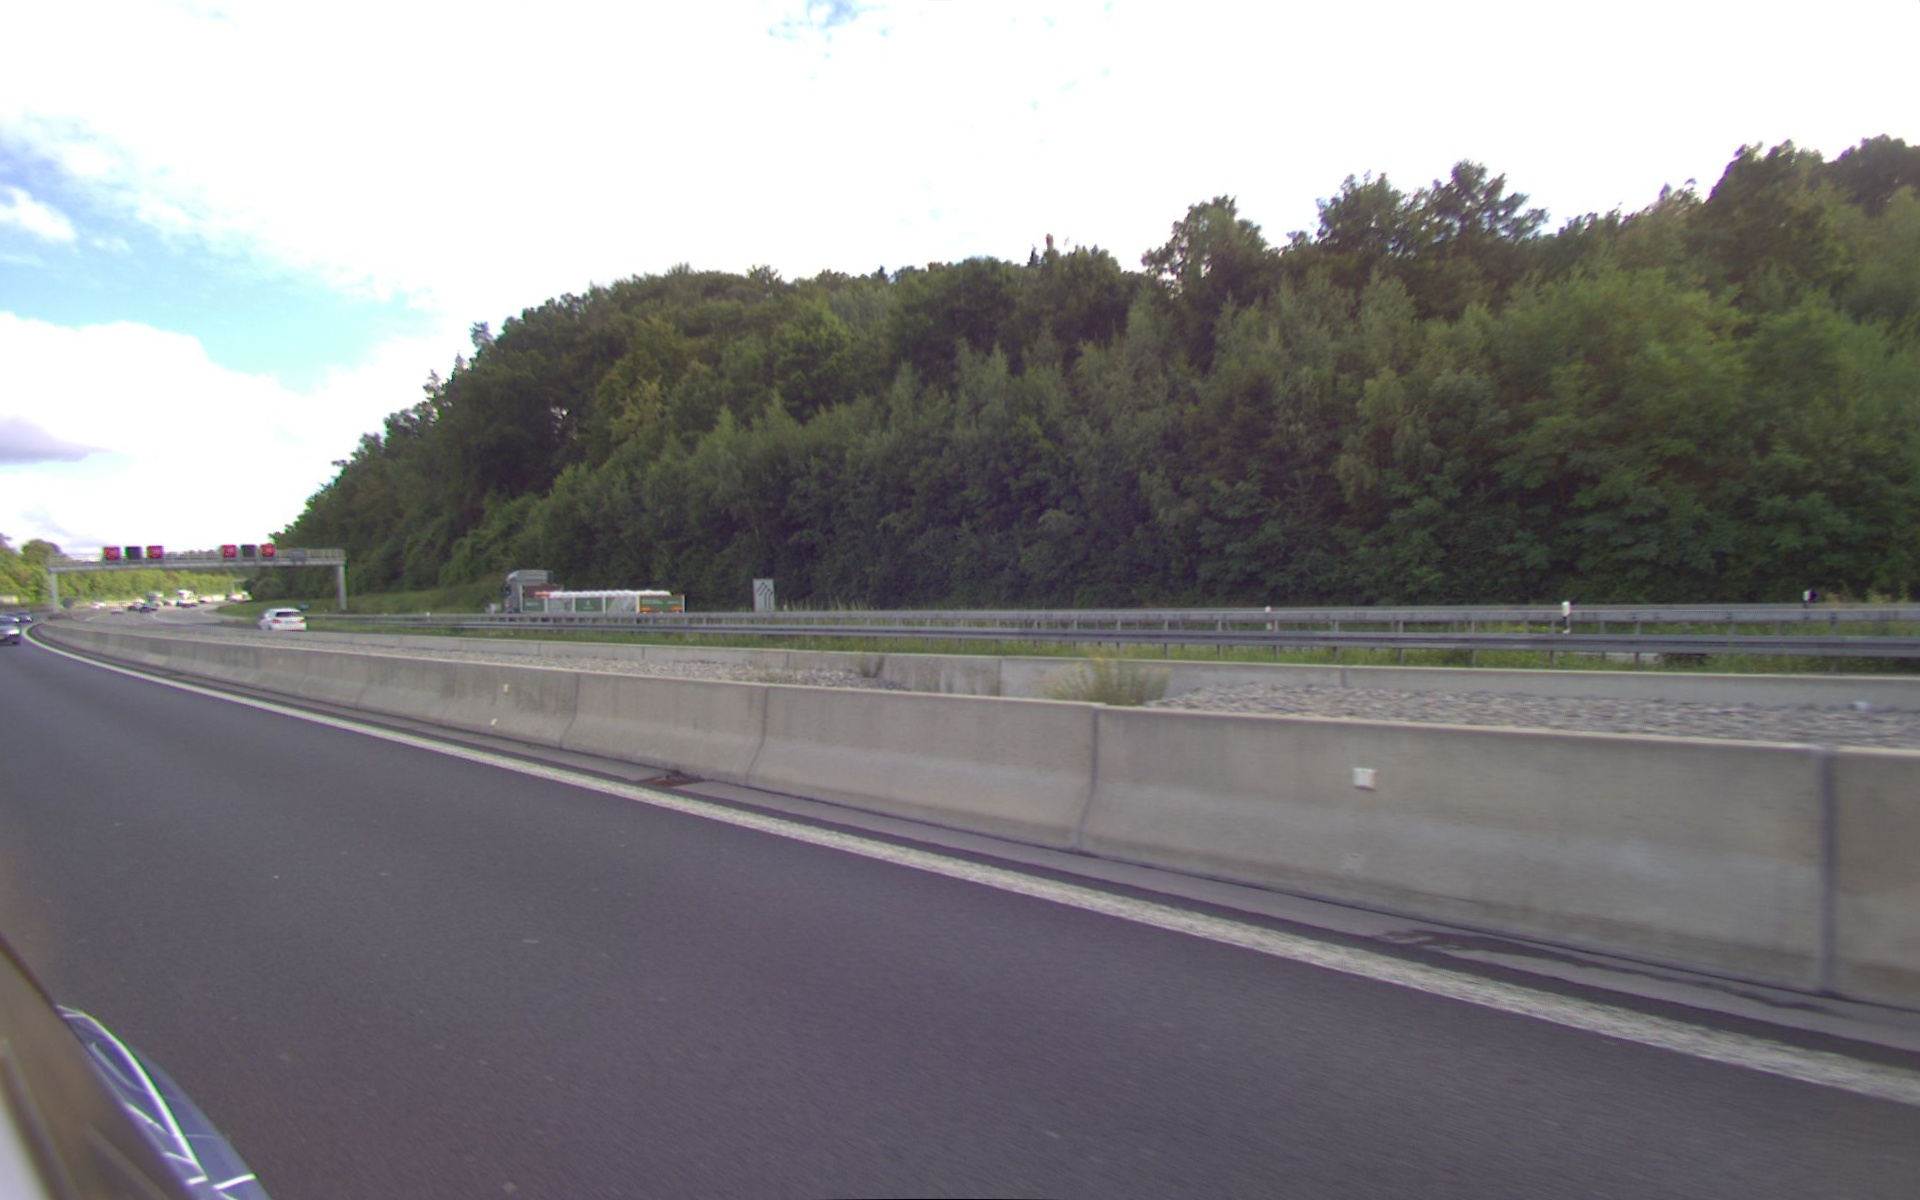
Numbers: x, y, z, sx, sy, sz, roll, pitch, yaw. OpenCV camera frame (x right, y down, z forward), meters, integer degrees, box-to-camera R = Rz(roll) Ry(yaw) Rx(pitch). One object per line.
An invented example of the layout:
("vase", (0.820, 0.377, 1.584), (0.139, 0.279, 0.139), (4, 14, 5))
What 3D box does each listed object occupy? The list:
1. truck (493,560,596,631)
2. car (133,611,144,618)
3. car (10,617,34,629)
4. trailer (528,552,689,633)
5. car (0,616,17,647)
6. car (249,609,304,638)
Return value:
("truck", (-24.111, -0.212, 58.569), (7.130, 3.855, 2.779), (-1, 0, 44))
("car", (-169.956, 3.066, 209.349), (1.645, 1.406, 4.607), (-1, 0, -42))
("car", (-118.071, 2.870, 127.422), (1.969, 1.484, 4.006), (-1, 0, -40))
("trailer", (-18.834, -0.297, 53.514), (12.191, 3.835, 2.781), (-1, 0, 44))
("car", (-48.723, 1.595, 51.006), (1.638, 1.484, 4.005), (-1, 1, -42))
("car", (-40.045, 1.326, 59.272), (4.768, 1.539, 1.694), (1, 1, 44))
